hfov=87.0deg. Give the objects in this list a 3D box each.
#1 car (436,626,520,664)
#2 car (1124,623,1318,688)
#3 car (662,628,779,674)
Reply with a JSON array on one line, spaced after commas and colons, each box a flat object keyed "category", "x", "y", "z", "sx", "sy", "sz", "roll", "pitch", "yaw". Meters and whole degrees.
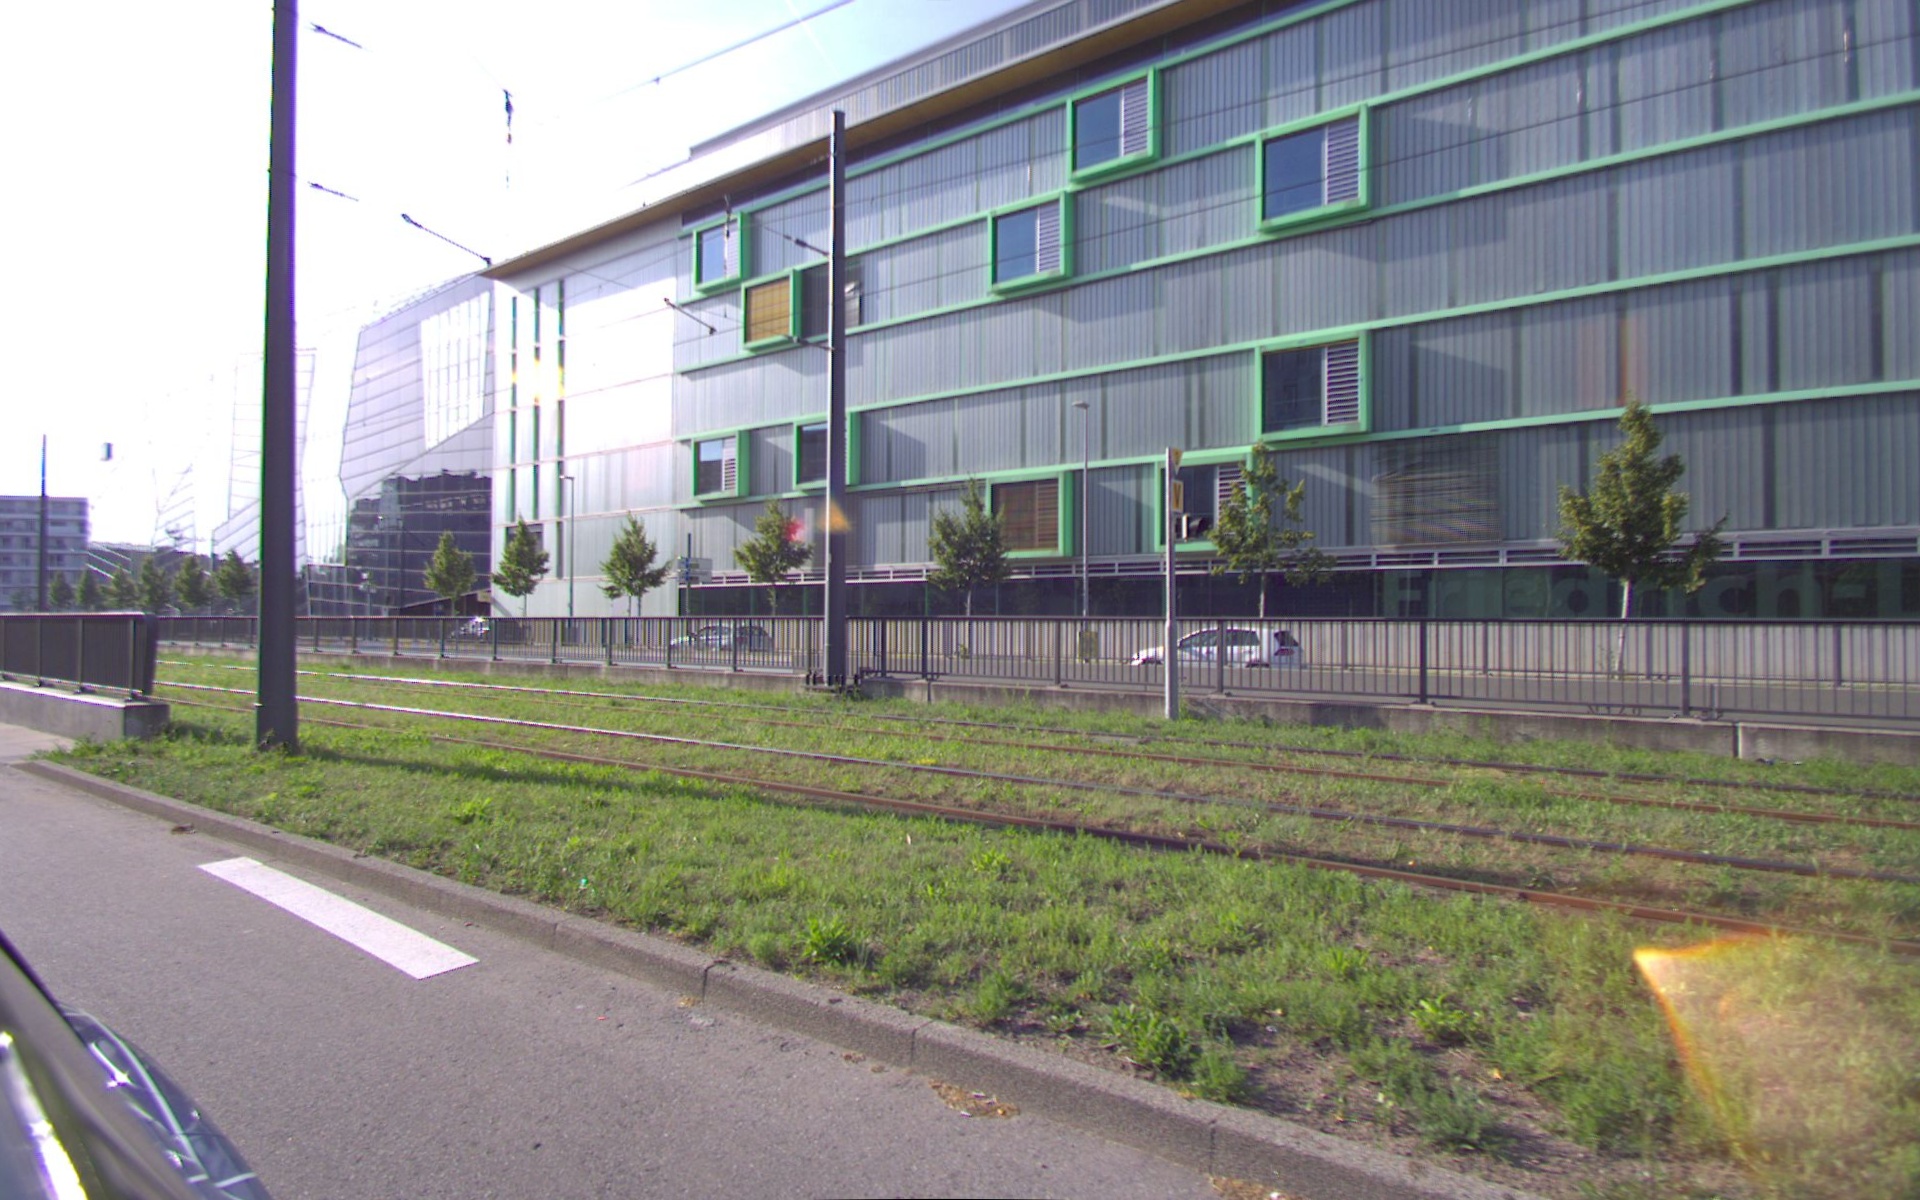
[{"category": "car", "x": -21.724, "y": 1.996, "z": 45.602, "sx": 4.020, "sy": 1.619, "sz": 1.754, "roll": -1, "pitch": -2, "yaw": 36}, {"category": "car", "x": 6.148, "y": 1.265, "z": 24.087, "sx": 4.177, "sy": 1.433, "sz": 1.645, "roll": -1, "pitch": -2, "yaw": 36}, {"category": "car", "x": -8.253, "y": 1.718, "z": 34.763, "sx": 4.021, "sy": 1.498, "sz": 1.754, "roll": -1, "pitch": -2, "yaw": 37}]
